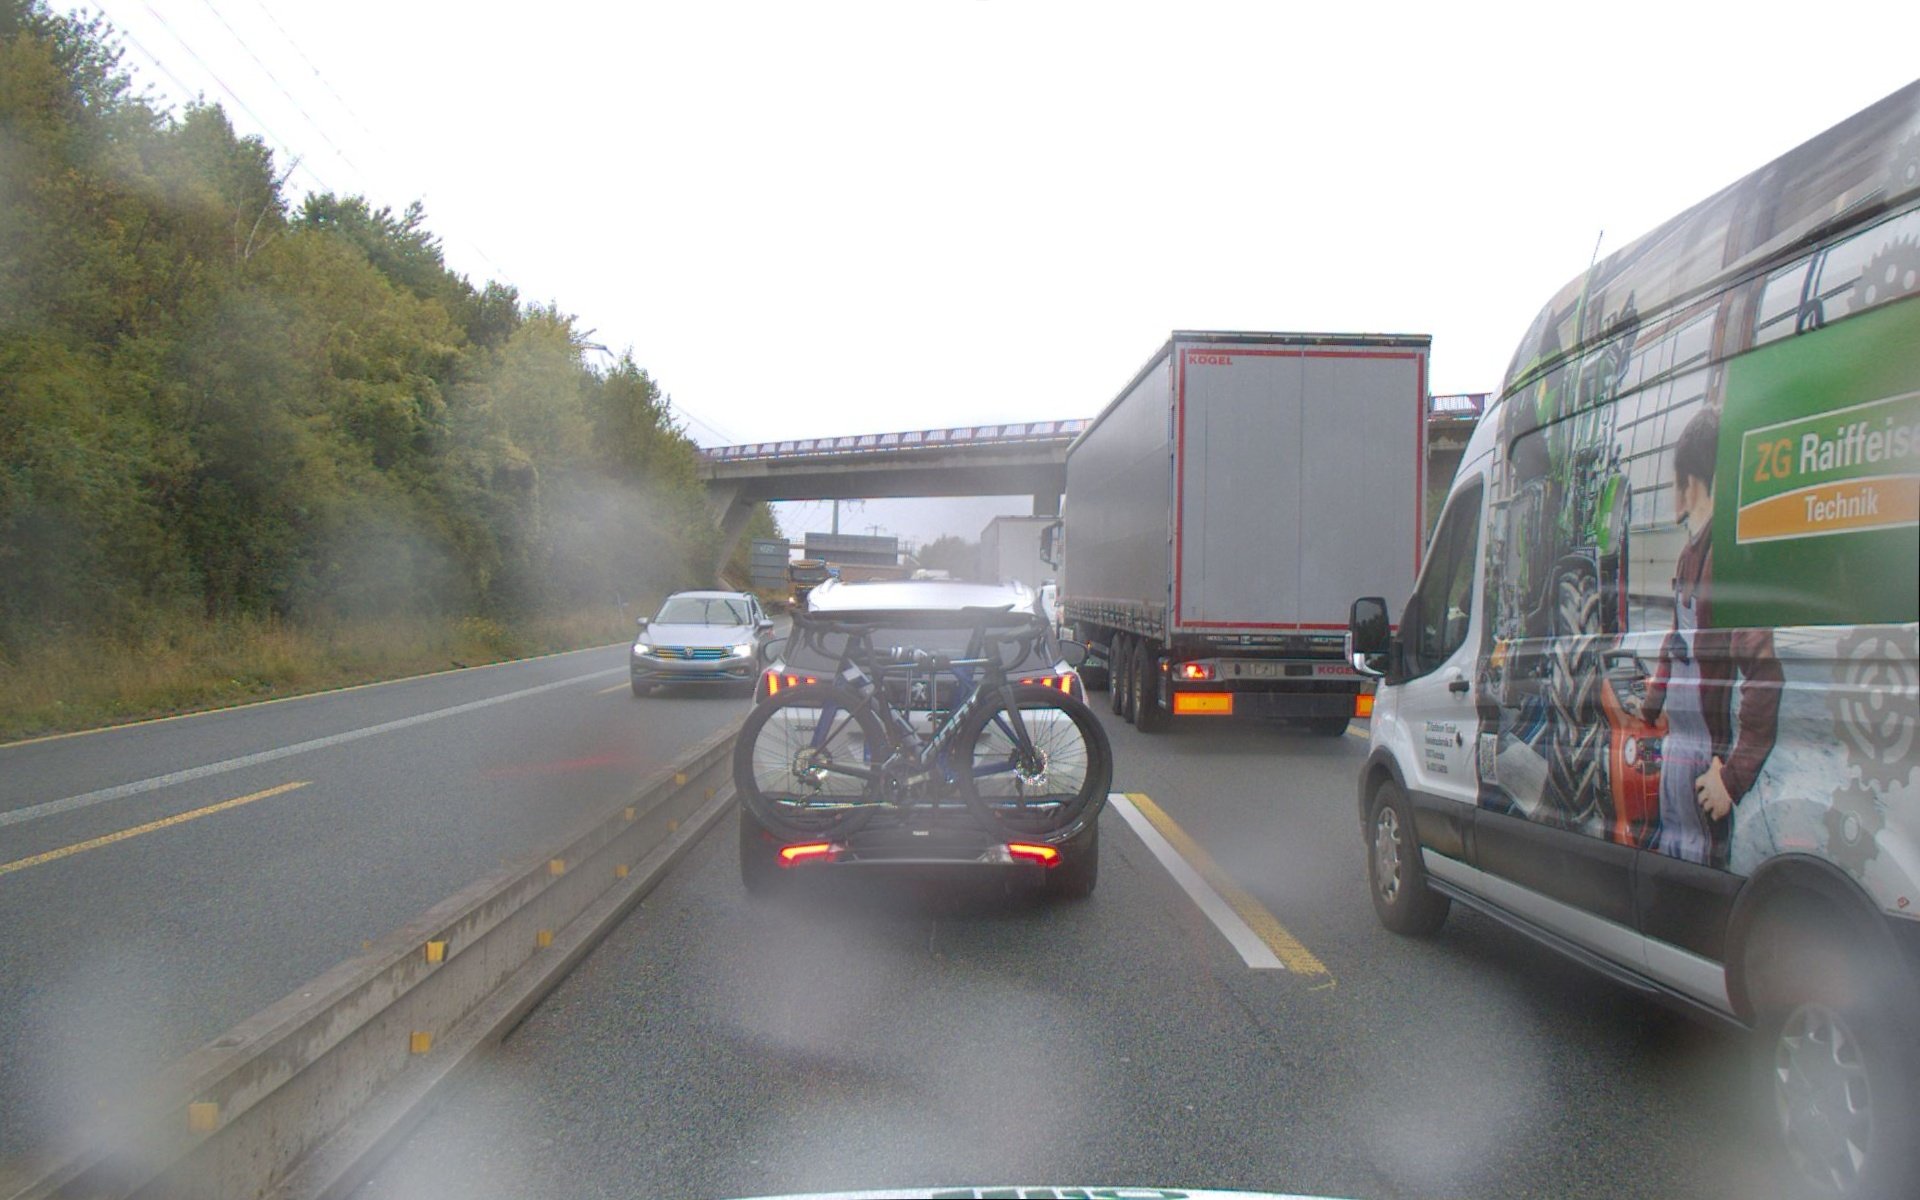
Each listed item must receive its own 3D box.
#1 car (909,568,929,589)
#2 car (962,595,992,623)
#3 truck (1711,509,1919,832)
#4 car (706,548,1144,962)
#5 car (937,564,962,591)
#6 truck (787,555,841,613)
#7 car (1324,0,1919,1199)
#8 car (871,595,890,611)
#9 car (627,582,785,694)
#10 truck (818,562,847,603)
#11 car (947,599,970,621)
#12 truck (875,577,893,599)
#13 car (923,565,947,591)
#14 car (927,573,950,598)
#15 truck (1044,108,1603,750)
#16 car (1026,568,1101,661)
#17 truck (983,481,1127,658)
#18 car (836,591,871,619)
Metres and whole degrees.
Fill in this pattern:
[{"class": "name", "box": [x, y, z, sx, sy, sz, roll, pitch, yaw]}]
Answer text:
[{"class": "car", "box": [-4.405, -2.286, 178.574, 1.953, 2.164, 4.526, 1, 0, 0]}, {"class": "car", "box": [0.961, 0.506, 93.051, 1.605, 1.524, 3.665, 1, 0, 0]}, {"class": "truck", "box": [10.716, 0.707, 16.206, 2.469, 3.186, 9.117, 1, 0, -1]}, {"class": "car", "box": [-0.113, 0.641, 9.086, 1.773, 1.666, 4.636, 1, 0, 1]}, {"class": "car", "box": [-0.806, -1.768, 131.011, 1.953, 2.049, 3.999, 1, 0, 0]}, {"class": "truck", "box": [-9.932, -1.030, 113.944, 2.626, 3.720, 12.310, 1, 0, 0]}, {"class": "car", "box": [3.026, 0.084, 5.631, 2.101, 2.723, 6.115, 1, 0, -1]}, {"class": "car", "box": [-7.097, 0.271, 147.484, 1.652, 1.434, 3.928, 1, 0, -2]}, {"class": "car", "box": [-3.723, 0.528, 24.925, 1.773, 1.514, 4.395, 1, 0, -1]}, {"class": "truck", "box": [-13.825, -1.811, 178.163, 2.712, 4.195, 16.905, 1, 0, -6]}, {"class": "car", "box": [-0.137, 0.739, 118.445, 1.605, 1.524, 3.665, 1, 0, 0]}, {"class": "truck", "box": [-12.029, -1.829, 262.838, 2.483, 3.411, 12.046, 1, 0, -1]}, {"class": "car", "box": [-2.345, -2.070, 156.942, 2.193, 2.348, 4.571, 1, 0, 0]}, {"class": "car", "box": [-1.870, -1.264, 143.861, 1.953, 2.049, 3.999, 1, 0, 0]}, {"class": "truck", "box": [3.825, -1.511, 25.182, 3.898, 5.772, 20.373, 1, 0, 0]}, {"class": "car", "box": [2.582, 0.350, 42.068, 1.635, 2.218, 4.534, 1, 0, 0]}, {"class": "truck", "box": [3.269, -0.970, 64.627, 4.645, 5.772, 20.376, 1, 0, 1]}, {"class": "car", "box": [-5.811, 0.297, 90.511, 1.744, 1.469, 4.327, 1, 0, -2]}]
